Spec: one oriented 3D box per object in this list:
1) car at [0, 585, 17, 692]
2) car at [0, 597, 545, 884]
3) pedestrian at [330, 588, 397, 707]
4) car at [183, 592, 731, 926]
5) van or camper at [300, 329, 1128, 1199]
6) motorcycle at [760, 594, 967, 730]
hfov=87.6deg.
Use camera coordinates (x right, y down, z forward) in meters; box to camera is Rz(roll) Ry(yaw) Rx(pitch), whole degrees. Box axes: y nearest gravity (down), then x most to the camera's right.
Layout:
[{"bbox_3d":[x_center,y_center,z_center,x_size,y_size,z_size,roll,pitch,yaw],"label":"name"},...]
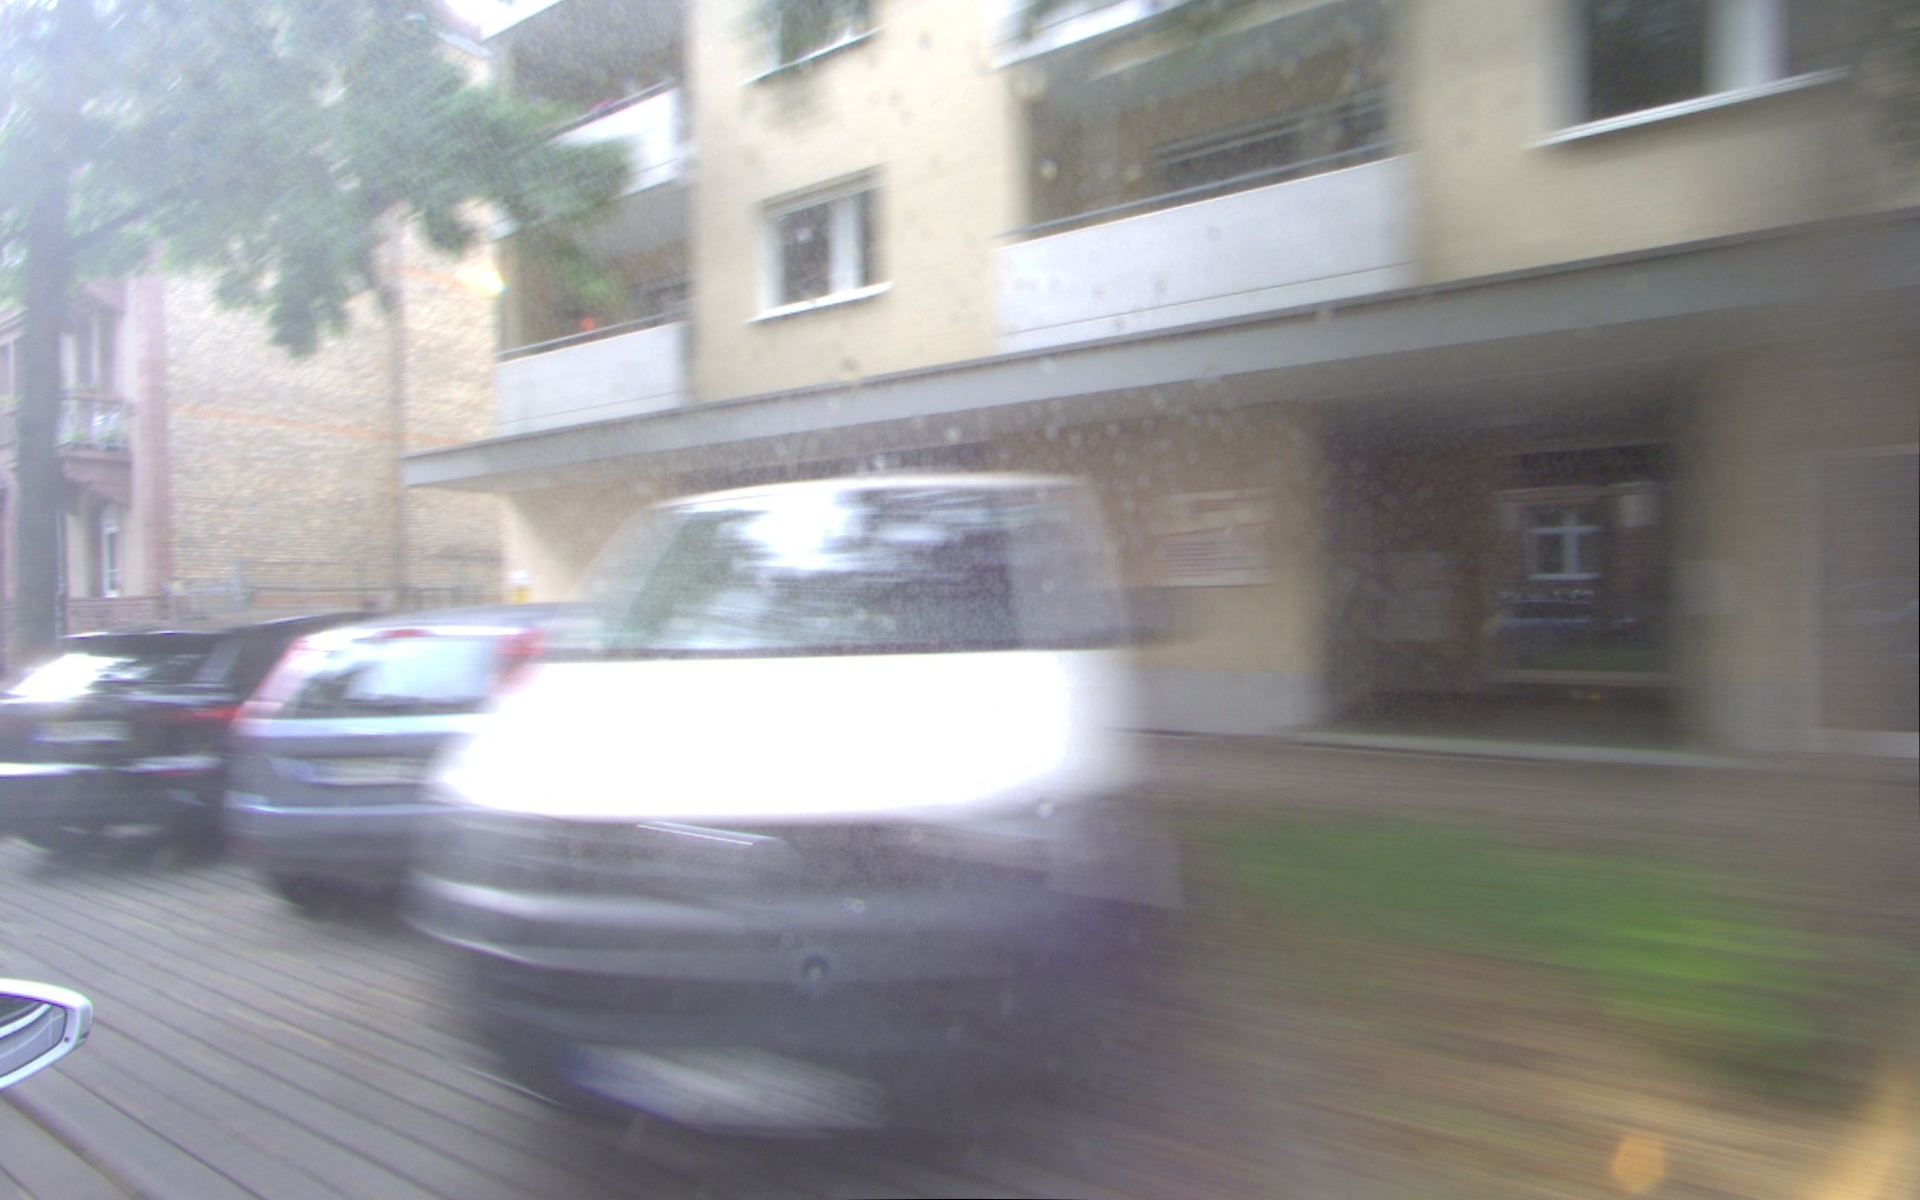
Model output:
[{"bbox_3d":[-18.094,0.772,15.959,1.961,1.895,4.183,-2,1,2],"label":"car"},{"bbox_3d":[-4.955,0.759,7.549,1.886,1.412,4.312,-1,2,-1],"label":"car"},{"bbox_3d":[-8.064,0.630,13.545,0.572,1.560,0.575,0,0,31],"label":"pedestrian"},{"bbox_3d":[-2.687,0.720,6.292,1.638,1.461,3.423,-1,1,1],"label":"car"},{"bbox_3d":[-0.359,0.401,4.780,1.962,2.020,4.742,-3,1,7],"label":"van or camper"},{"bbox_3d":[-1.066,0.626,10.755,2.220,1.319,0.676,-1,3,32],"label":"motorcycle"}]
